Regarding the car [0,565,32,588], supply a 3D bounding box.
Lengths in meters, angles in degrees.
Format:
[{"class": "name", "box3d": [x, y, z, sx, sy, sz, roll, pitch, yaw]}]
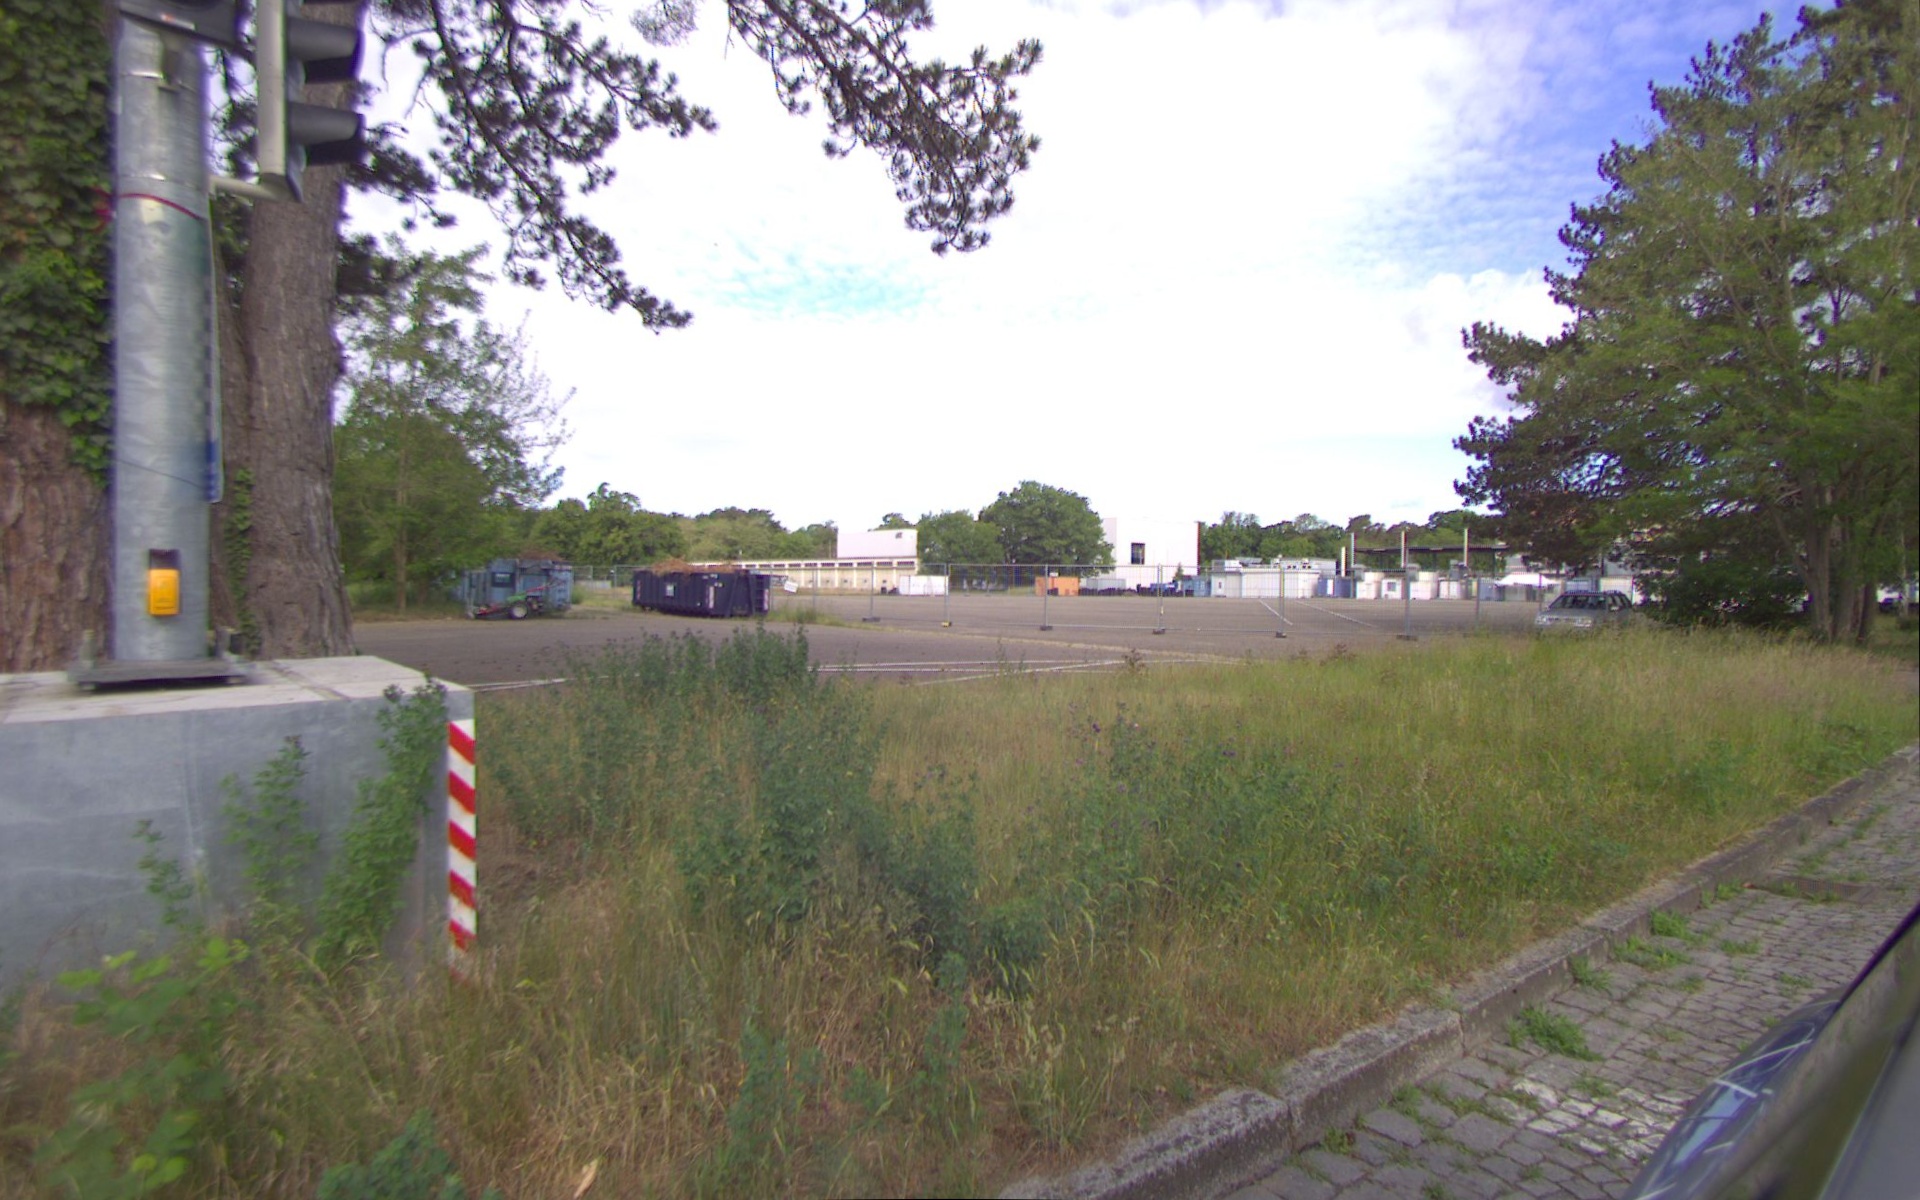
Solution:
[{"class": "car", "box3d": [-93.030, -2.263, 97.697, 4.906, 2.099, 2.049, 1, -1, -41]}]

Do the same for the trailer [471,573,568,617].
[{"class": "trailer", "box3d": [-12.412, -0.121, 28.537, 2.279, 1.185, 1.142, 1, 0, -41]}]

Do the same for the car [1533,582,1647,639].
[{"class": "car", "box3d": [18.191, 0.249, 29.155, 4.083, 1.492, 1.860, -1, 2, -44]}]
